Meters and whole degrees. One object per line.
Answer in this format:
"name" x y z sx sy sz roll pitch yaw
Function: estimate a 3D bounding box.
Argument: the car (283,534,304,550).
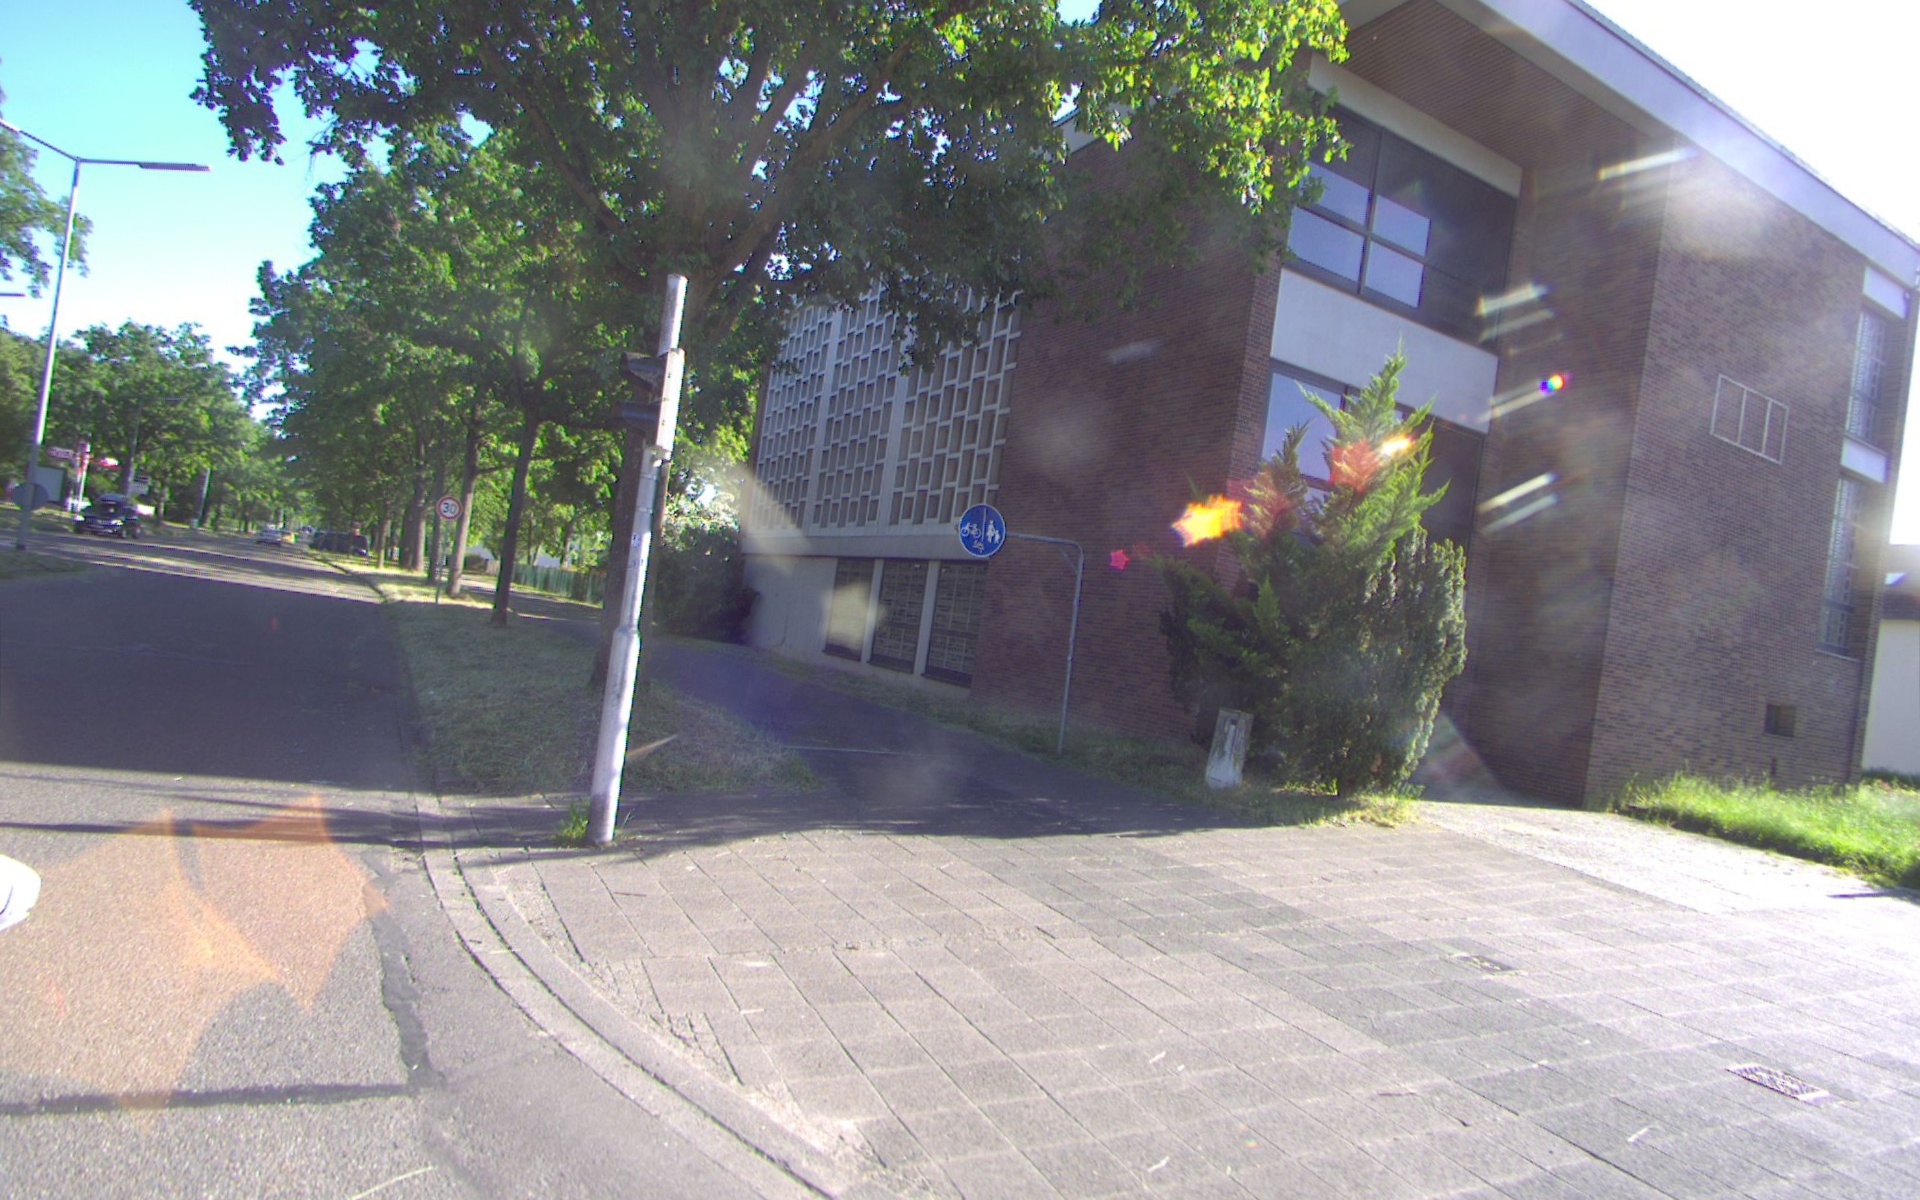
"car" -69.939 -6.078 105.594 1.651 1.352 3.633 8 -3 -34

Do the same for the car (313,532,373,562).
"car" -56.736 -4.844 92.492 4.476 1.975 1.673 9 -2 -34

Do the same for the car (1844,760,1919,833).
"car" 24.273 5.030 24.089 1.786 1.519 4.182 10 -2 -26

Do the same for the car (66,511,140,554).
"car" -41.901 -3.287 49.285 1.826 1.728 4.470 8 -1 -30

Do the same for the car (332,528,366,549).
"car" -81.829 -8.221 134.722 3.546 2.072 1.620 9 -5 -34

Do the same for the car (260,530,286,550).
"car" -58.054 -5.039 85.017 1.651 1.352 3.633 8 -3 -34

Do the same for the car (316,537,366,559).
"car" -55.313 -4.605 89.939 3.631 1.414 1.306 9 -2 -34
